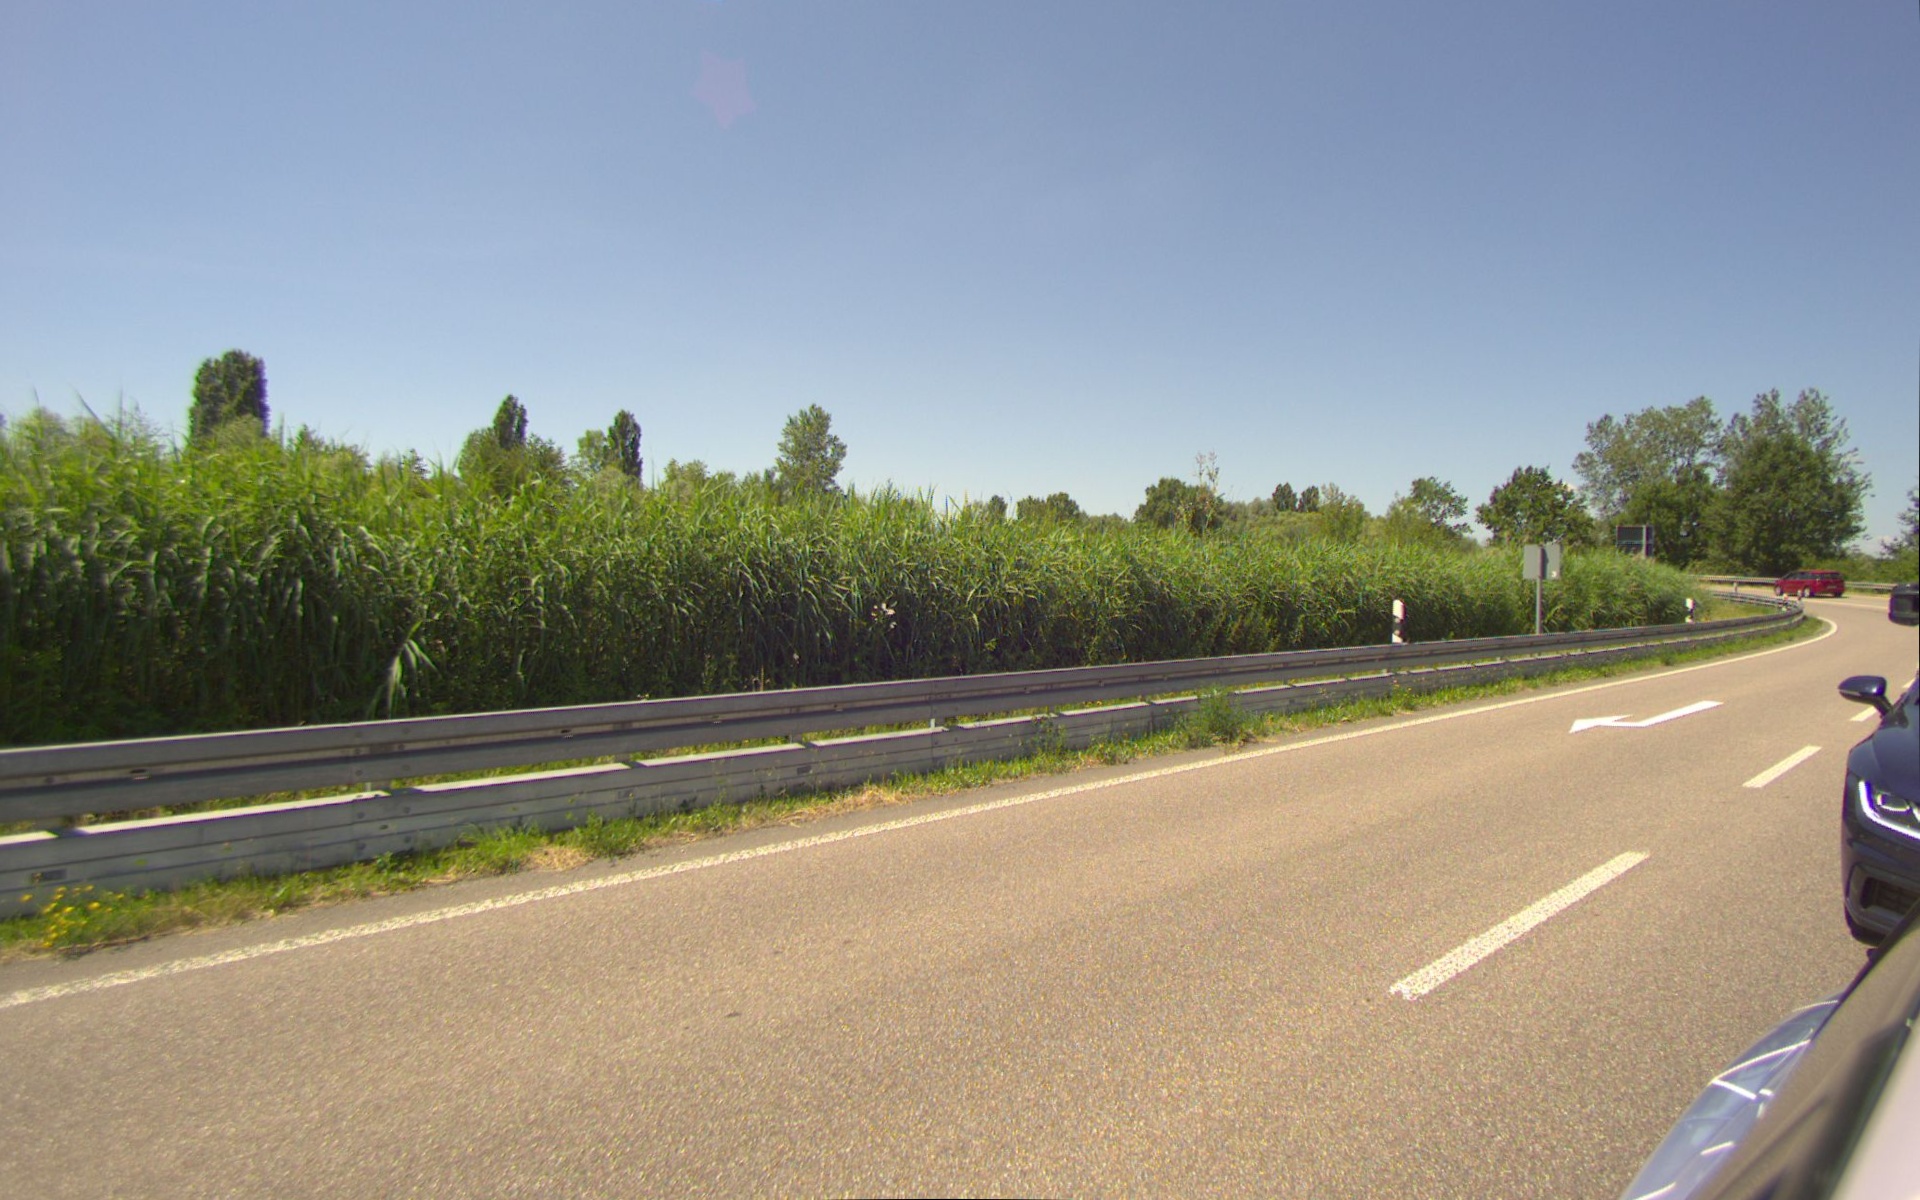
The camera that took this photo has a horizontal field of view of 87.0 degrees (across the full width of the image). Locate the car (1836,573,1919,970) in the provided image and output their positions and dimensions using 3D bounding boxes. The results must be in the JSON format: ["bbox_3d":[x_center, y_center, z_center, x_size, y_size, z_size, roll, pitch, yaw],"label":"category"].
[{"bbox_3d":[5.645,0.626,4.679,4.338,1.481,1.818,-1,1,-41],"label":"car"}]

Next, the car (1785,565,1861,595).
[{"bbox_3d":[52.463,-1.250,61.592,1.716,1.706,4.193,2,2,13],"label":"car"}]
